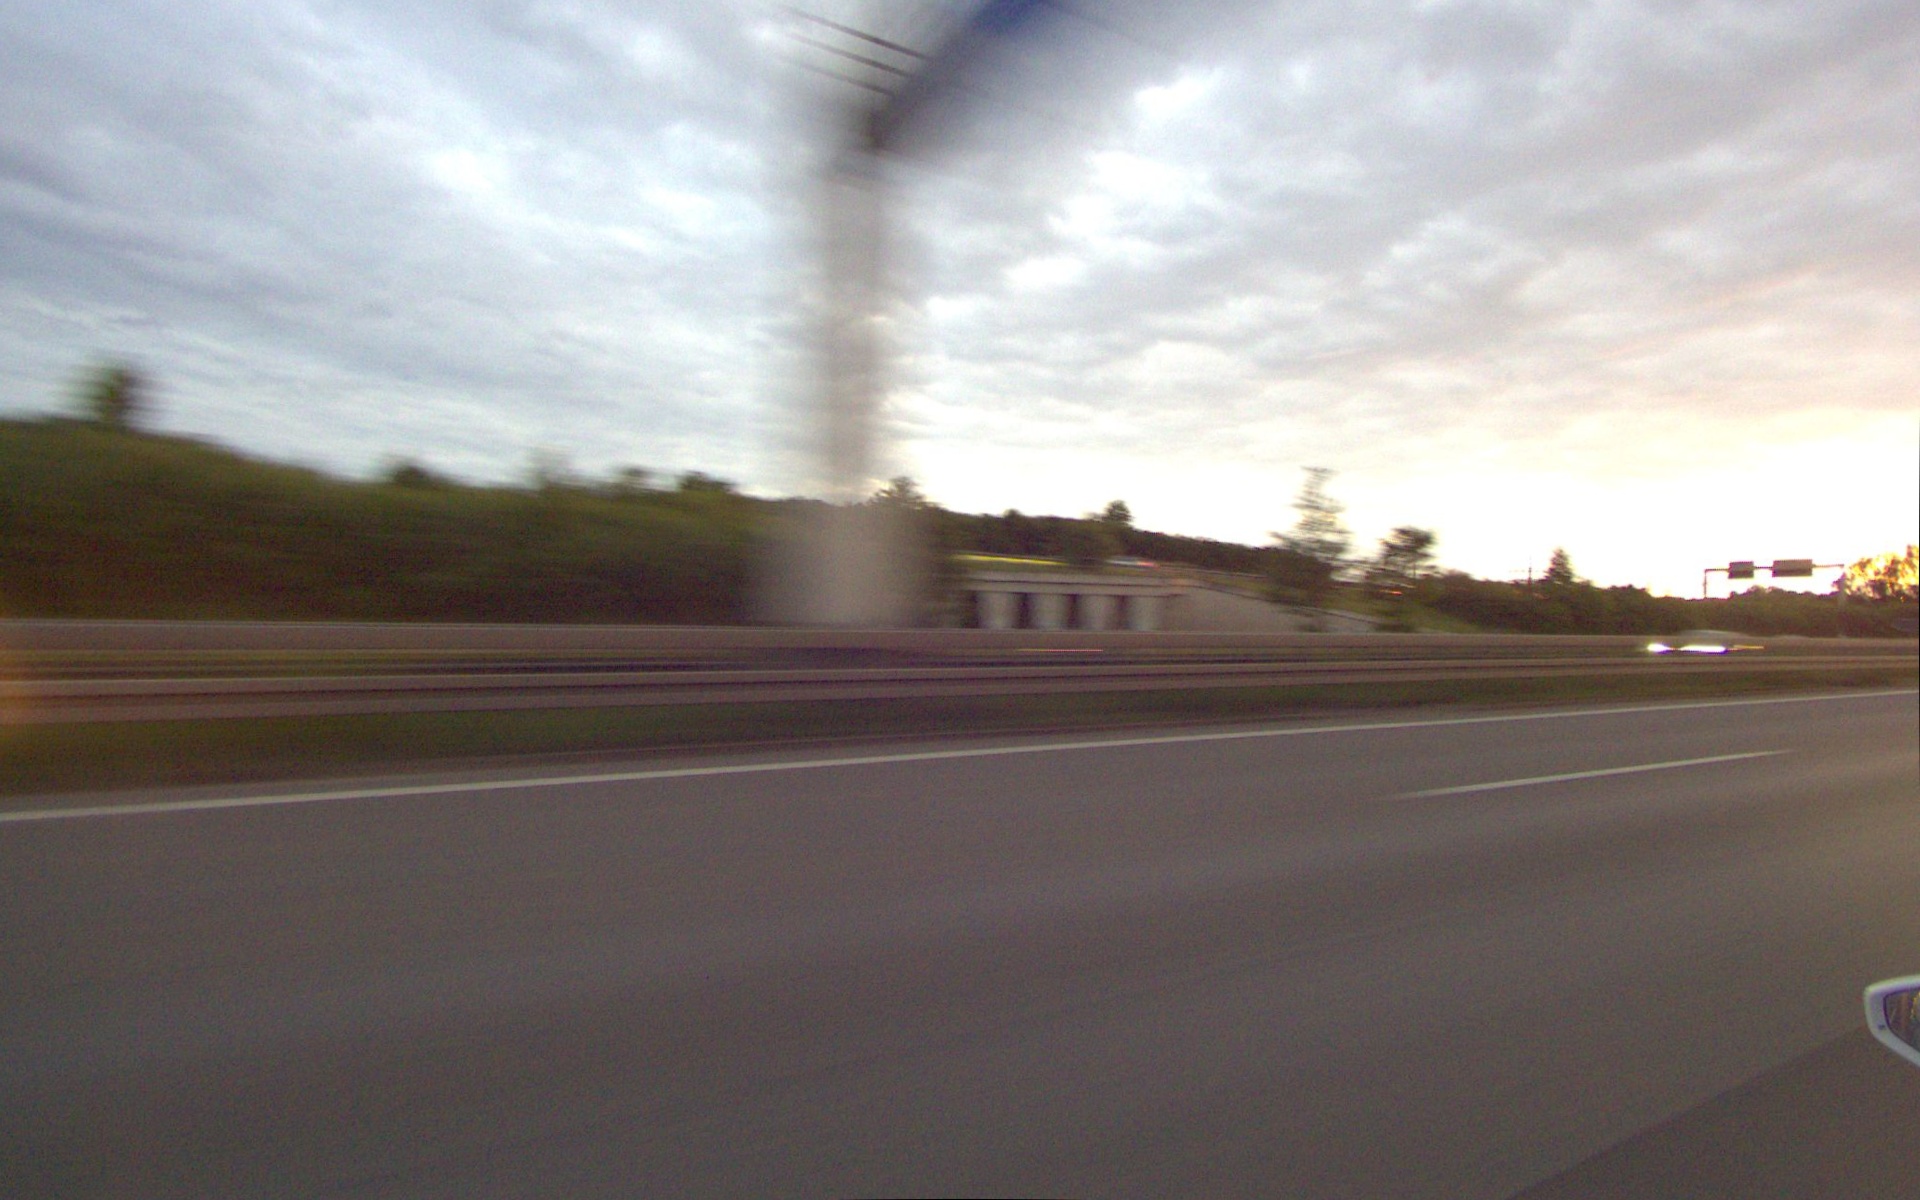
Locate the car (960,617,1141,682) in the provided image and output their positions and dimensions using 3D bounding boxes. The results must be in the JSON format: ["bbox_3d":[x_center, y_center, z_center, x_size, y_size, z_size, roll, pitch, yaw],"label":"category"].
[{"bbox_3d":[2.332,1.255,25.442,4.378,1.420,1.681,3,0,-31],"label":"car"}]

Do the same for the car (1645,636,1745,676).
[{"bbox_3d":[30.363,2.322,41.466,4.378,1.420,1.681,3,0,-31],"label":"car"}]
